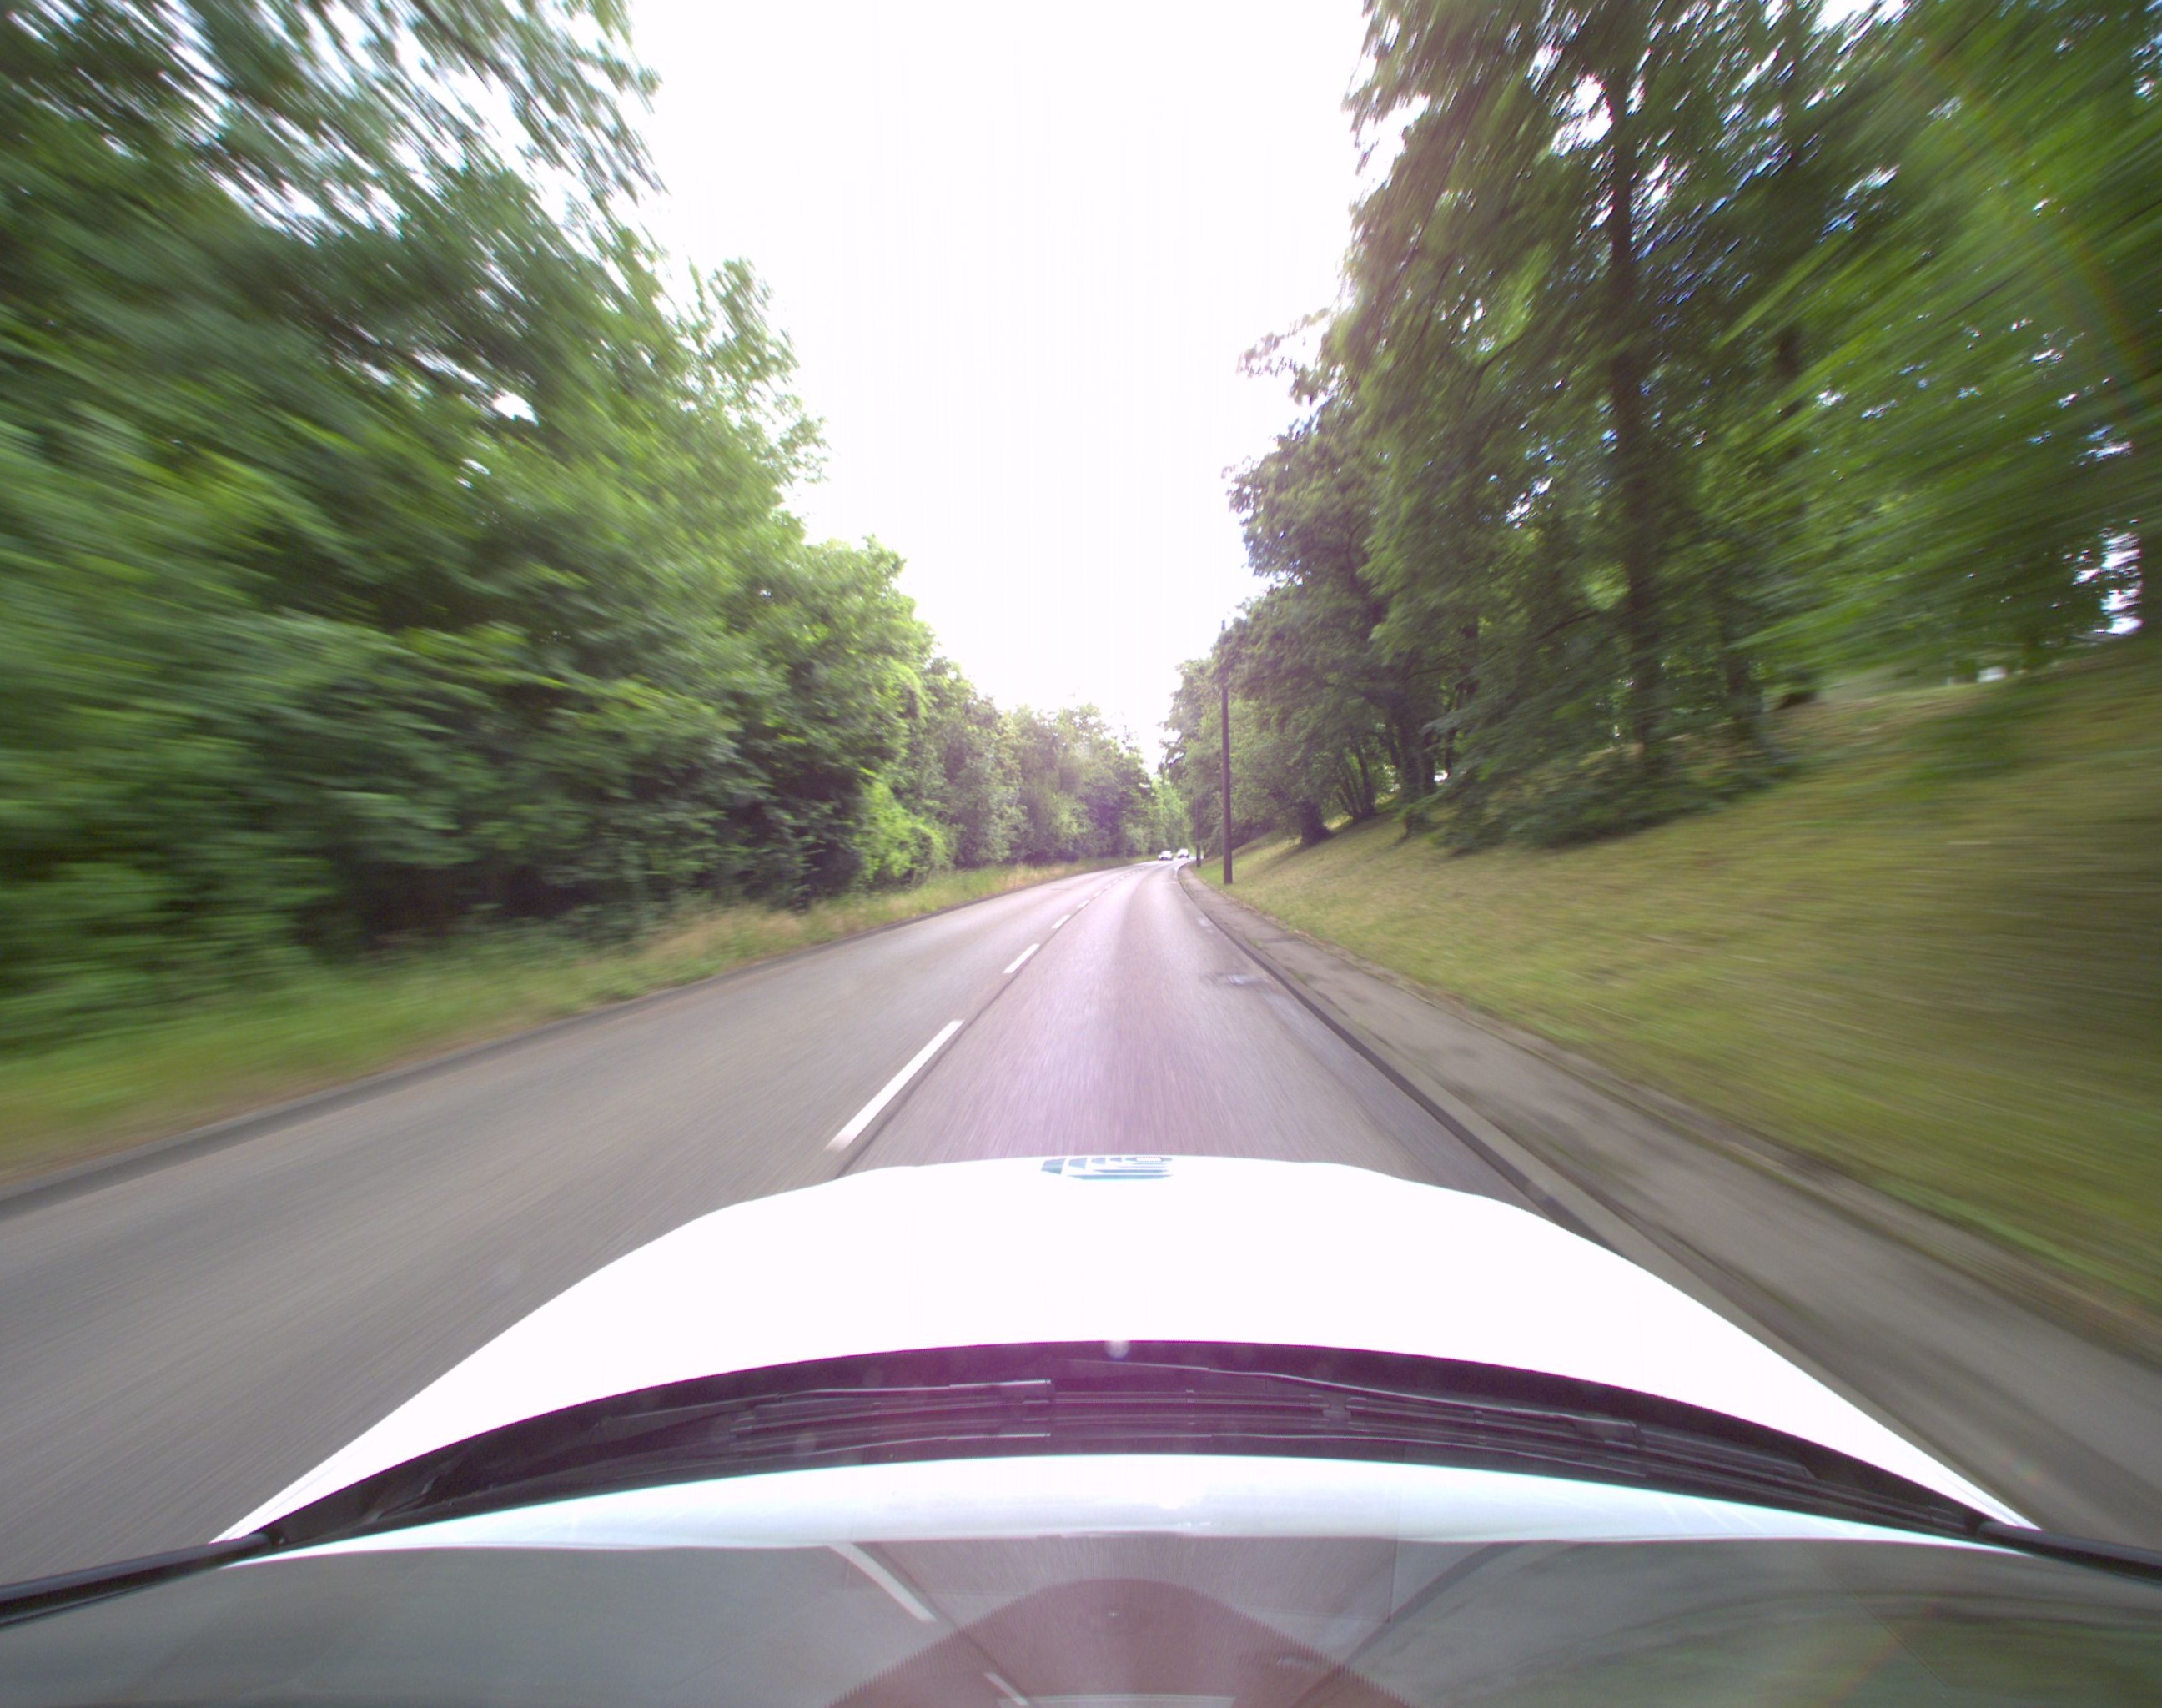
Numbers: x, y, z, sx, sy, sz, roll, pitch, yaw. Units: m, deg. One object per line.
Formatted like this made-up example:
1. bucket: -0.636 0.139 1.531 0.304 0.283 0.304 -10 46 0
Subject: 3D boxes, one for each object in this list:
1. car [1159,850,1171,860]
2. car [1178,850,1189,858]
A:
1. car: 13.187 0.181 127.320 1.801 1.420 4.007 -1 0 6
2. car: 19.773 0.005 157.281 1.932 1.581 4.448 -1 0 6
